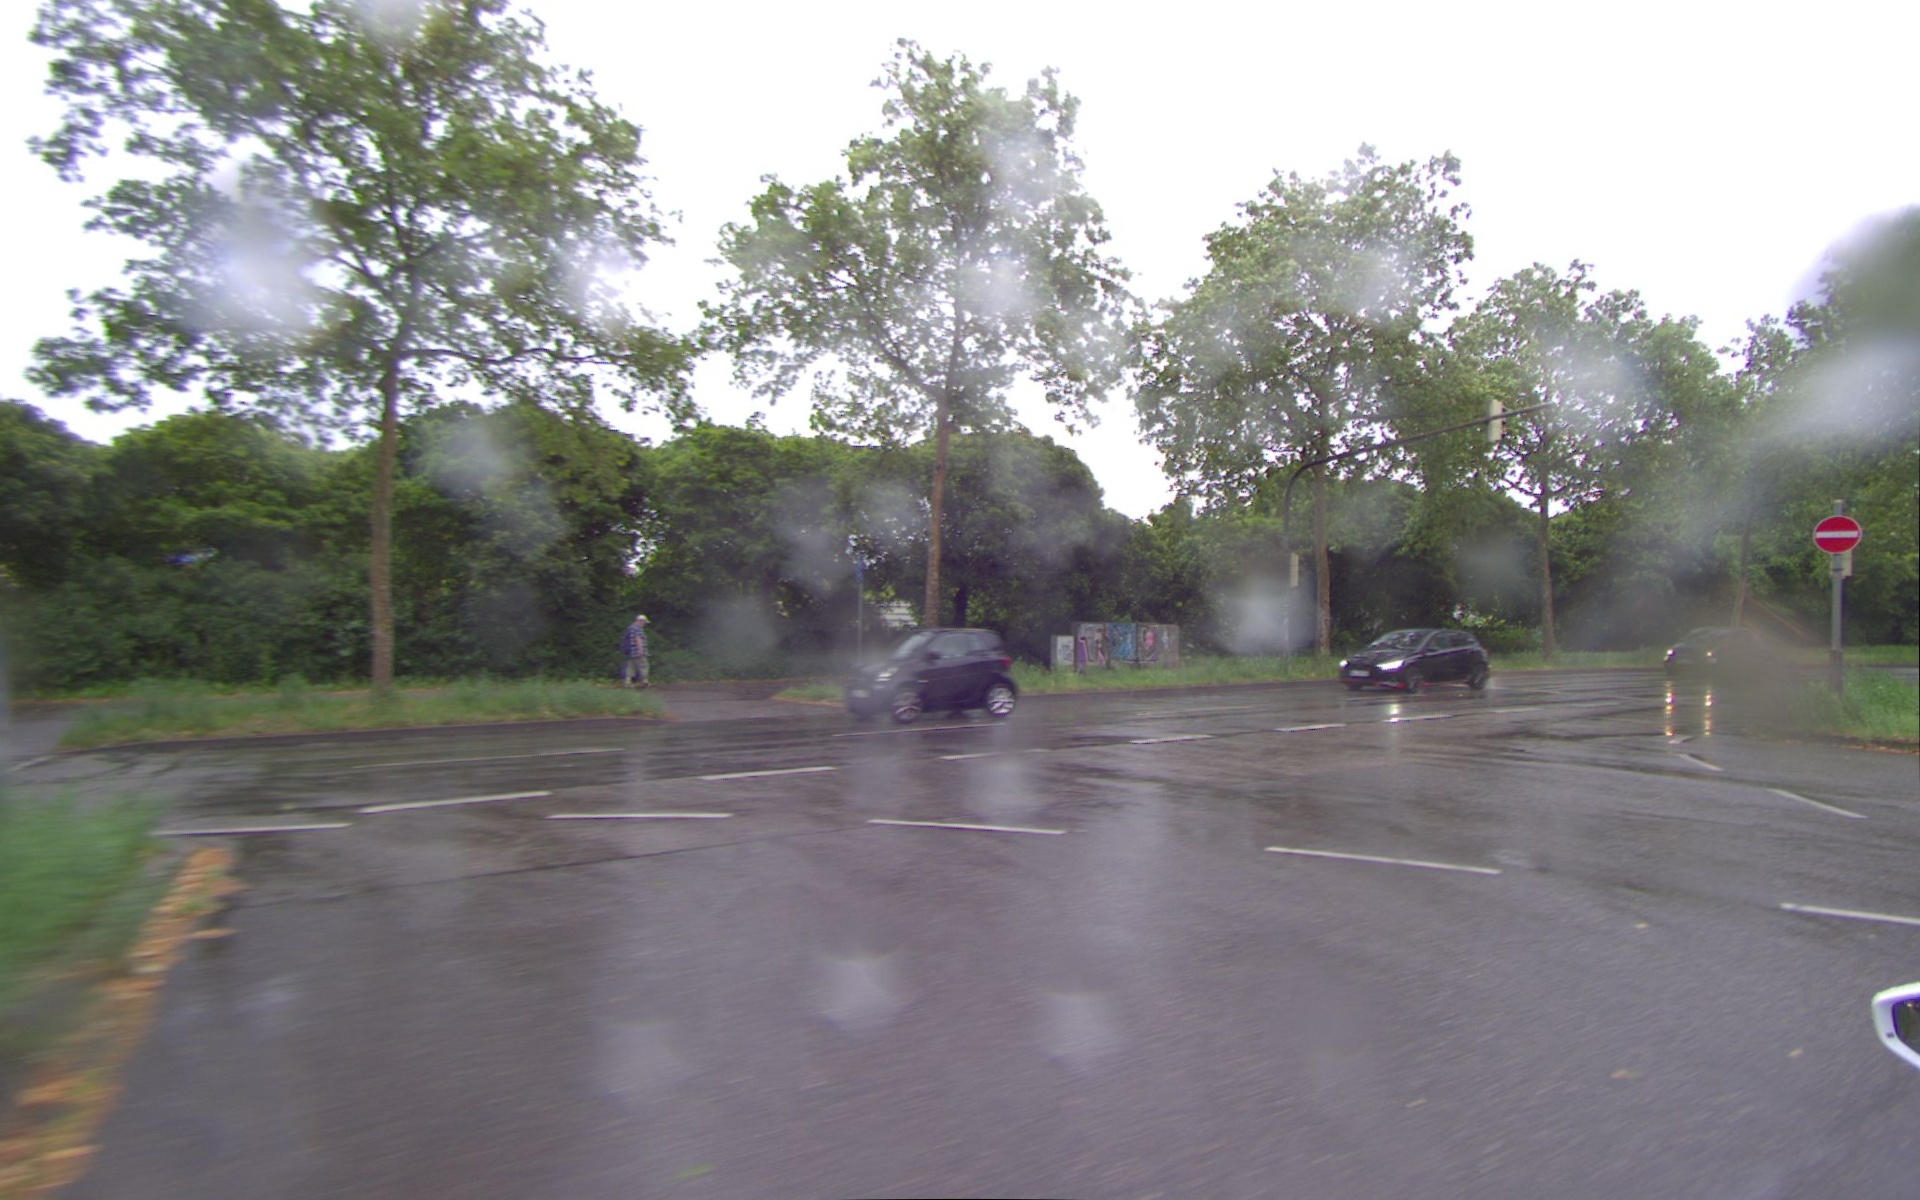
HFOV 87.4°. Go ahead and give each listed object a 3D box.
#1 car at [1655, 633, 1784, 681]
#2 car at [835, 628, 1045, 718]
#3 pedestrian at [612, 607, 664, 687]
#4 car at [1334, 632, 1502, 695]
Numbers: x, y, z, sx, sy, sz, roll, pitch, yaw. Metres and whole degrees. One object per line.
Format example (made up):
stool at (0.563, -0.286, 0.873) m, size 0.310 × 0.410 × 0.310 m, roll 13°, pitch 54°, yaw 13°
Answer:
car at (23.481, 1.729, 31.039) m, size 4.208 × 1.391 × 1.581 m, roll 2°, pitch -1°, yaw -28°
car at (-0.326, 1.211, 17.373) m, size 3.296 × 1.391 × 1.579 m, roll 2°, pitch -1°, yaw -31°
pedestrian at (-6.955, 1.003, 21.677) m, size 0.889 × 1.696 × 0.826 m, roll 1°, pitch -1°, yaw -30°
car at (11.044, 1.483, 24.152) m, size 4.212 × 1.391 × 1.580 m, roll 2°, pitch -1°, yaw -30°
